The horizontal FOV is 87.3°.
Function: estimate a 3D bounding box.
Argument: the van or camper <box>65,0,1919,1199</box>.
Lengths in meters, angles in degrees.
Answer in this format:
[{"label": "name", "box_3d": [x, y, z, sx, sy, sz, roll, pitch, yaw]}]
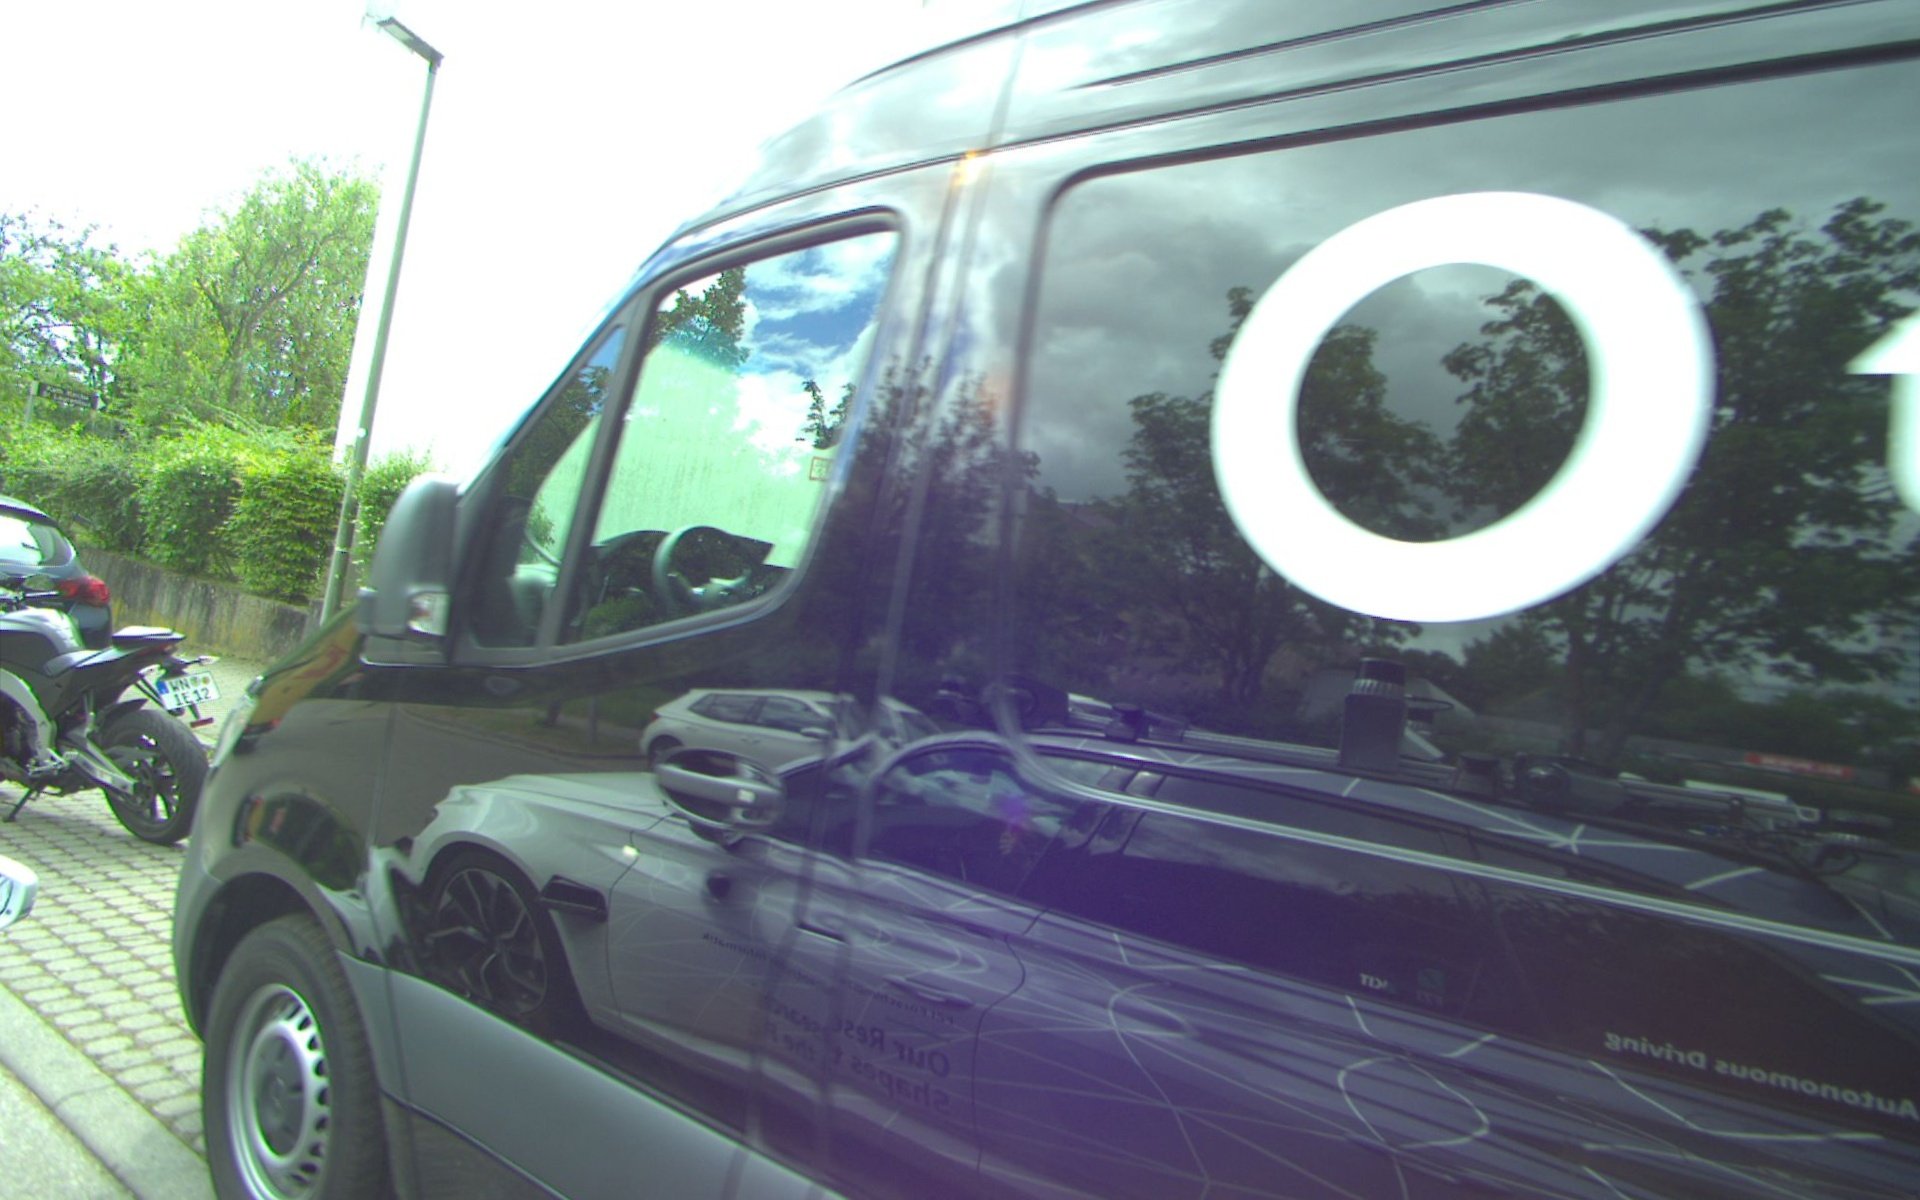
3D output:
[{"label": "van or camper", "box_3d": [1.058, 0.344, 1.538, 5.380, 2.553, 1.996, 7, 0, 32]}]

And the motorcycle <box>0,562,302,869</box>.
[{"label": "motorcycle", "box_3d": [-4.260, 0.417, 4.608, 2.046, 1.124, 0.903, 6, -3, 18]}]

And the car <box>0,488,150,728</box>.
[{"label": "car", "box_3d": [-7.628, -0.157, 6.929, 3.901, 1.449, 1.734, 6, -3, 29]}]
